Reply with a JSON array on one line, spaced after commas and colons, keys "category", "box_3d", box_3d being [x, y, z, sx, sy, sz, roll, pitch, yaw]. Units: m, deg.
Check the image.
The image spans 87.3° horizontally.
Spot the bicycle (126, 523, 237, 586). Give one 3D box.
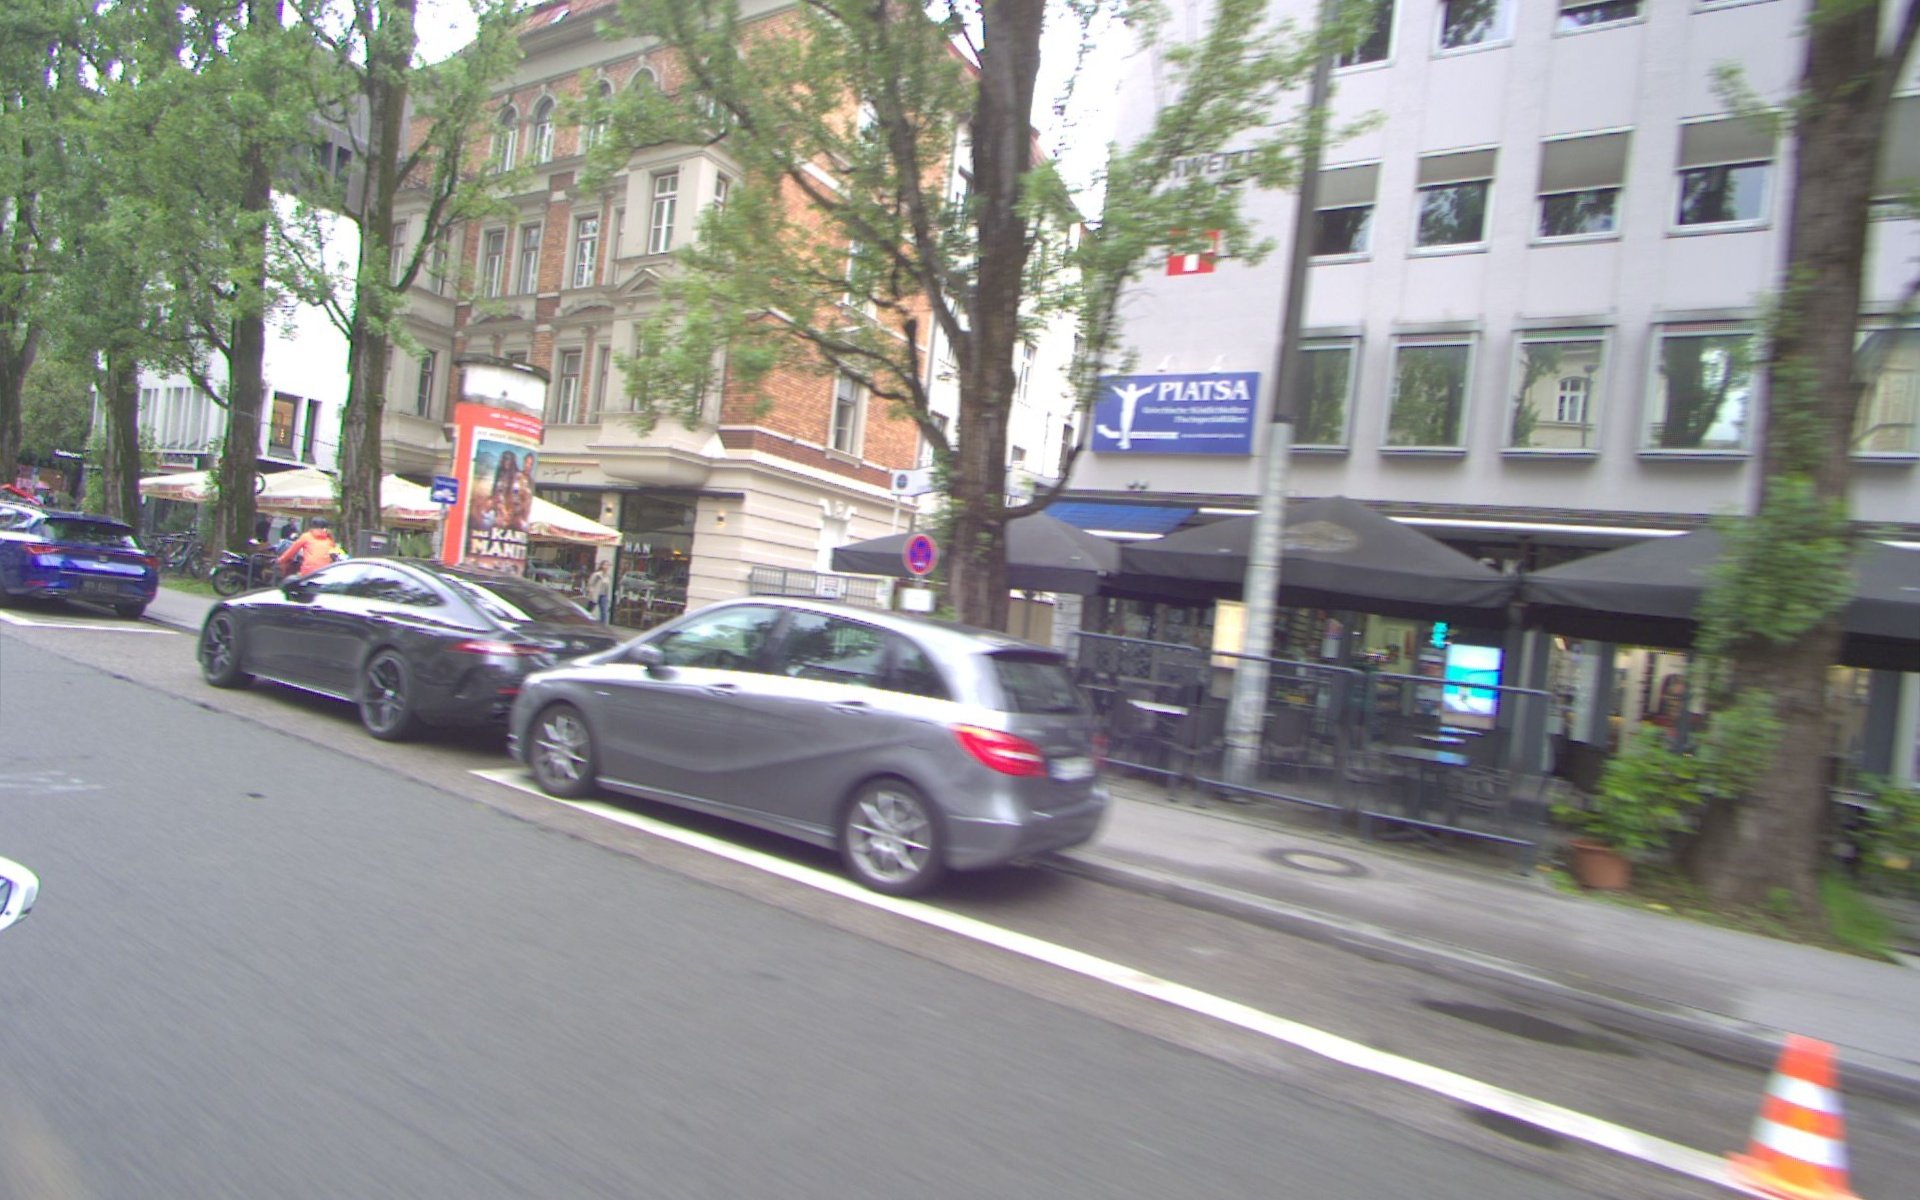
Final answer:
[{"category": "bicycle", "box_3d": [-17.873, -1.027, 23.154, 0.566, 1.207, 1.874, 7, 0, 27]}]

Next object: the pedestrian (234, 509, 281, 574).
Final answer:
[{"category": "pedestrian", "box_3d": [-21.307, -1.766, 30.520, 0.916, 1.825, 0.729, 7, 1, 32]}]

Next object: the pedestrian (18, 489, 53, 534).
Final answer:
[{"category": "pedestrian", "box_3d": [-39.233, -3.763, 42.687, 0.845, 1.771, 0.728, 7, -1, 32]}]

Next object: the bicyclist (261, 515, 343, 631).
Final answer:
[{"category": "bicyclist", "box_3d": [-9.695, -0.395, 14.821, 0.740, 1.608, 0.622, 7, 1, 31]}]

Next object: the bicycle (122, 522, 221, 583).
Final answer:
[{"category": "bicycle", "box_3d": [-18.314, -1.076, 23.413, 0.413, 1.207, 1.715, 7, 0, 27]}]

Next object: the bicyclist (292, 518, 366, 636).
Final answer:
[{"category": "bicyclist", "box_3d": [-9.041, -0.323, 14.422, 0.473, 1.608, 0.622, 7, 1, 31]}]

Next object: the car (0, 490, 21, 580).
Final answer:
[{"category": "car", "box_3d": [-19.355, -1.431, 18.410, 4.409, 1.584, 1.996, 7, 0, 31]}]

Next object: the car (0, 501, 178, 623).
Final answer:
[{"category": "car", "box_3d": [-13.647, -0.662, 14.801, 4.388, 1.422, 1.753, 7, 0, 29]}]

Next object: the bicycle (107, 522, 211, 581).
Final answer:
[{"category": "bicycle", "box_3d": [-18.731, -1.108, 23.570, 0.364, 1.153, 1.834, 7, 0, 26]}]

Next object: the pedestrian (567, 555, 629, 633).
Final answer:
[{"category": "pedestrian", "box_3d": [-8.183, -0.132, 22.743, 0.974, 1.629, 0.729, 7, 1, 32]}]

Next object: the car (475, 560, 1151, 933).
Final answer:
[{"category": "car", "box_3d": [-1.068, 0.748, 6.810, 4.160, 1.525, 1.820, 7, 0, 29]}]

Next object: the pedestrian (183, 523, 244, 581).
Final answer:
[{"category": "pedestrian", "box_3d": [-18.717, -1.197, 25.233, 0.719, 1.283, 0.929, 7, 0, 31]}]

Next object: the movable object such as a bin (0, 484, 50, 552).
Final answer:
[{"category": "movable object such as a bin", "box_3d": [-26.509, -2.324, 28.112, 1.559, 1.724, 1.034, 7, 1, 28]}]

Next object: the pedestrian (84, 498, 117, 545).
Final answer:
[{"category": "pedestrian", "box_3d": [-32.666, -2.974, 38.232, 0.692, 1.647, 0.654, 7, 1, 29]}]

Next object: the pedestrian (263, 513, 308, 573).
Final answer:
[{"category": "pedestrian", "box_3d": [-20.883, -1.759, 31.159, 0.916, 1.698, 0.729, 7, 1, 32]}]

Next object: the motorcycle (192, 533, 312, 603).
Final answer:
[{"category": "motorcycle", "box_3d": [-14.514, -0.634, 20.690, 0.683, 1.194, 1.834, 7, 0, 26]}]

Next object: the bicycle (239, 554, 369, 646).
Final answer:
[{"category": "bicycle", "box_3d": [-9.661, -0.014, 14.782, 2.226, 1.100, 0.627, 7, 1, 31]}]

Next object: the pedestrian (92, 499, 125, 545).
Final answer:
[{"category": "pedestrian", "box_3d": [-33.337, -3.047, 39.382, 0.692, 1.647, 0.654, 7, 1, 29]}]

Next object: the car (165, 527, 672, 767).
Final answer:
[{"category": "car", "box_3d": [-5.103, 0.314, 9.285, 4.724, 1.450, 1.881, 7, 0, 31]}]

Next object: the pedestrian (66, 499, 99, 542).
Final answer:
[{"category": "pedestrian", "box_3d": [-37.203, -3.372, 42.633, 0.753, 1.645, 0.736, 7, -1, 33]}]

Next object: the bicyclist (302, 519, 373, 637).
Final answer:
[{"category": "bicyclist", "box_3d": [-8.836, -0.301, 14.294, 0.385, 1.608, 0.622, 7, 1, 31]}]
